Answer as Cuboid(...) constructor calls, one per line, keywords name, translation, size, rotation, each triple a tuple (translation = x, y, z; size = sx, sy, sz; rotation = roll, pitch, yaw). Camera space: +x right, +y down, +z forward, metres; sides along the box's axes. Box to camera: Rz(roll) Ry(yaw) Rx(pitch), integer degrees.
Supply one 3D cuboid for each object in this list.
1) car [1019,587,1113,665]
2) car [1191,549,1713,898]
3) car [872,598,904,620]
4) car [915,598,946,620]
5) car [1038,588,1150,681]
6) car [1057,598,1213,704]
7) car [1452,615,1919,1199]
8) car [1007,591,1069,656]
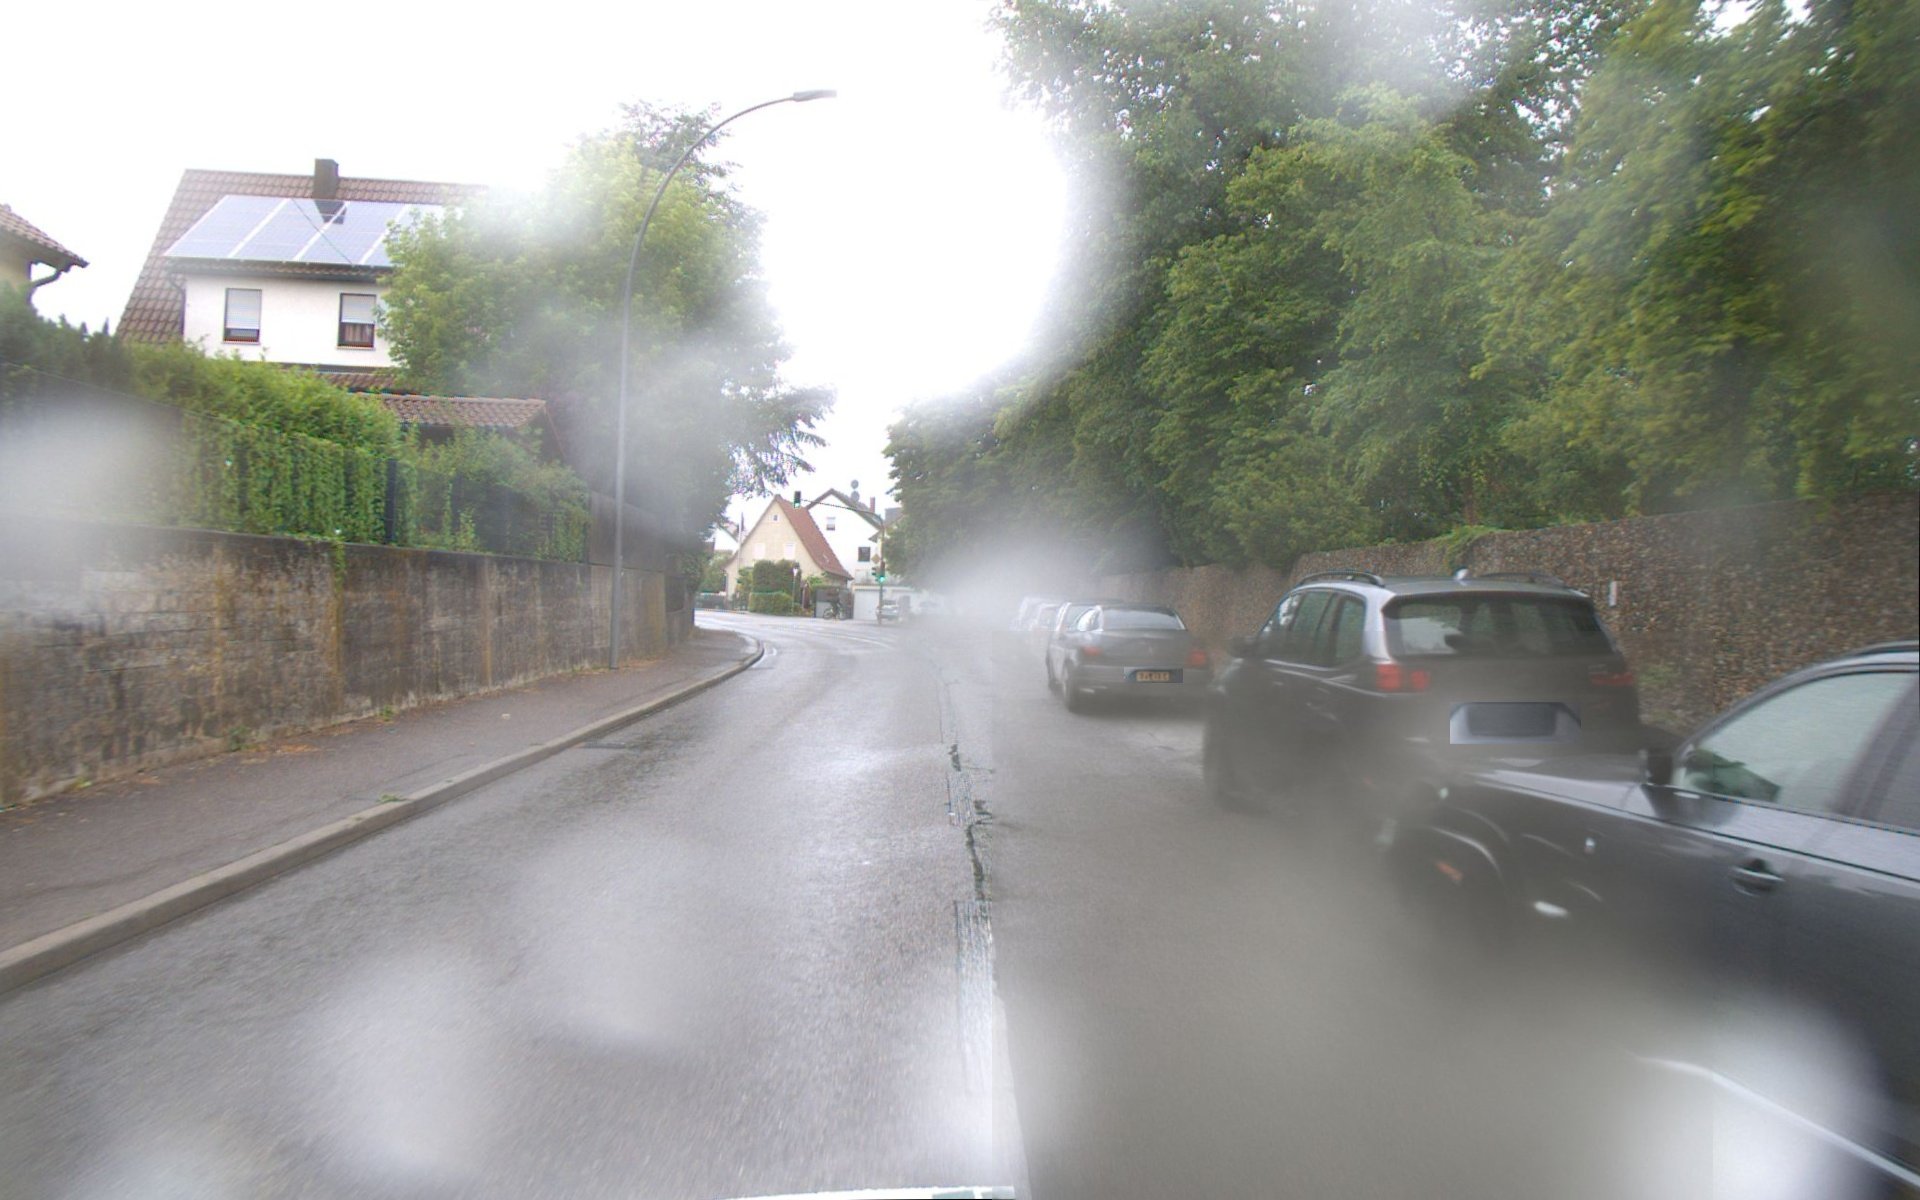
Cuboid(name="car", translation=(2.223, 0.554, 35.512), size=(1.614, 1.523, 4.245), rotation=(2, -1, -1))
Cuboid(name="car", translation=(2.729, 0.621, 10.335), size=(1.707, 1.697, 4.494), rotation=(1, 0, -3))
Cuboid(name="car", translation=(-4.949, 0.580, 114.750), size=(1.867, 1.467, 4.001), rotation=(1, 0, 2))
Cuboid(name="car", translation=(-2.027, 0.637, 114.386), size=(1.867, 1.467, 4.001), rotation=(1, 0, 2))
Cuboid(name="car", translation=(2.372, 0.615, 29.984), size=(1.614, 1.523, 3.708), rotation=(2, -1, -1))
Cuboid(name="car", translation=(2.477, 0.685, 24.290), size=(1.619, 1.395, 4.179), rotation=(1, 0, -3))
Cuboid(name="car", translation=(2.949, 0.795, 4.248), size=(1.729, 1.472, 4.693), rotation=(1, 0, -3))
Cuboid(name="car", translation=(1.915, 0.580, 41.275), size=(1.276, 1.523, 3.363), rotation=(2, -1, -1))
